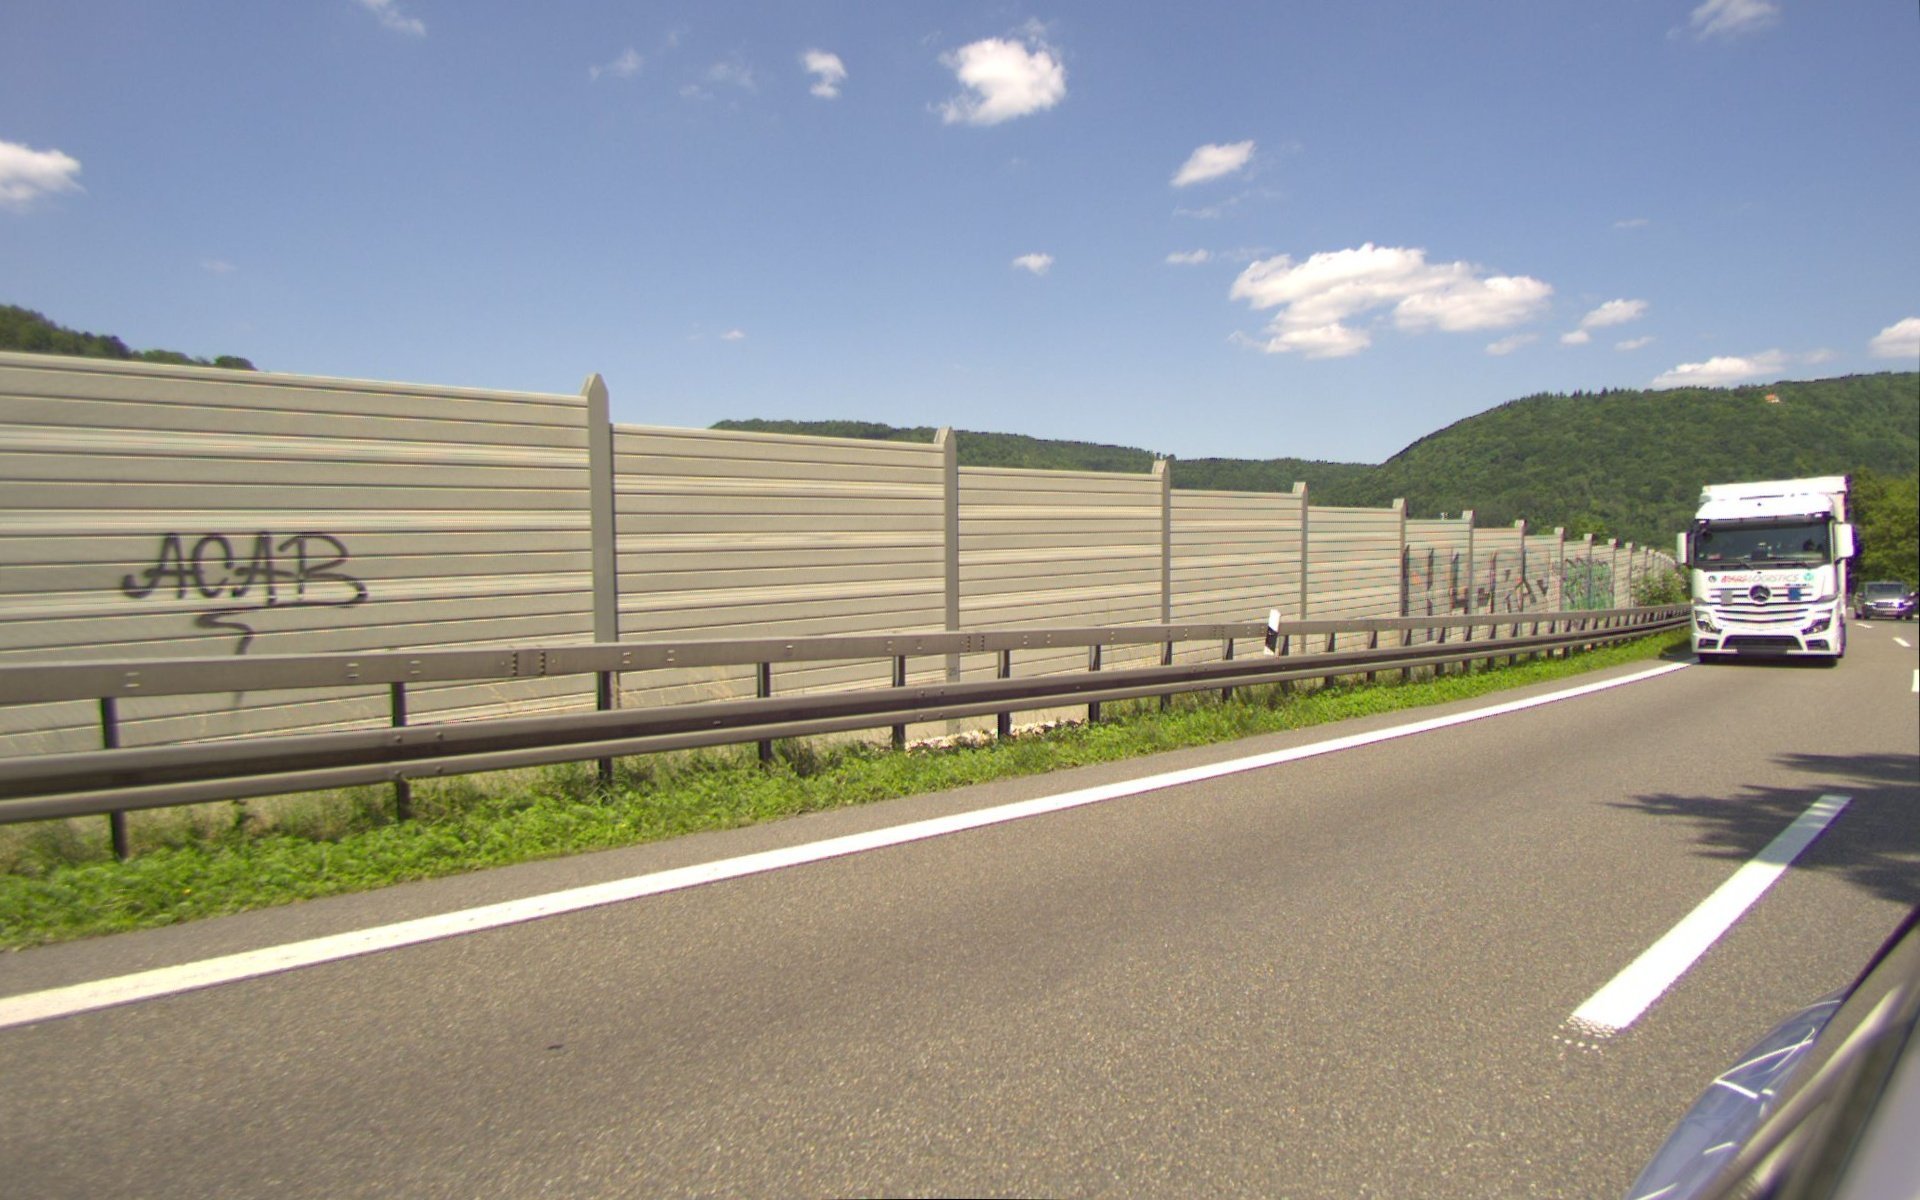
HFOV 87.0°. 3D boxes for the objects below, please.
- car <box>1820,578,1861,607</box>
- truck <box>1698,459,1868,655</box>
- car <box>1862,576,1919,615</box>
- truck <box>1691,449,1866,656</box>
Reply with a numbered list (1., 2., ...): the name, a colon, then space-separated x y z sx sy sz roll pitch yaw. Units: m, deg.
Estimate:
1. car: 65.537 -0.573 75.418 1.989 2.038 3.946 2 2 37
2. truck: 22.300 -0.956 27.056 2.852 4.200 11.863 -1 -1 42
3. car: 47.357 -0.219 51.210 2.032 1.889 3.950 1 1 35
4. truck: 19.095 -0.989 23.439 2.756 4.089 6.718 0 1 43
